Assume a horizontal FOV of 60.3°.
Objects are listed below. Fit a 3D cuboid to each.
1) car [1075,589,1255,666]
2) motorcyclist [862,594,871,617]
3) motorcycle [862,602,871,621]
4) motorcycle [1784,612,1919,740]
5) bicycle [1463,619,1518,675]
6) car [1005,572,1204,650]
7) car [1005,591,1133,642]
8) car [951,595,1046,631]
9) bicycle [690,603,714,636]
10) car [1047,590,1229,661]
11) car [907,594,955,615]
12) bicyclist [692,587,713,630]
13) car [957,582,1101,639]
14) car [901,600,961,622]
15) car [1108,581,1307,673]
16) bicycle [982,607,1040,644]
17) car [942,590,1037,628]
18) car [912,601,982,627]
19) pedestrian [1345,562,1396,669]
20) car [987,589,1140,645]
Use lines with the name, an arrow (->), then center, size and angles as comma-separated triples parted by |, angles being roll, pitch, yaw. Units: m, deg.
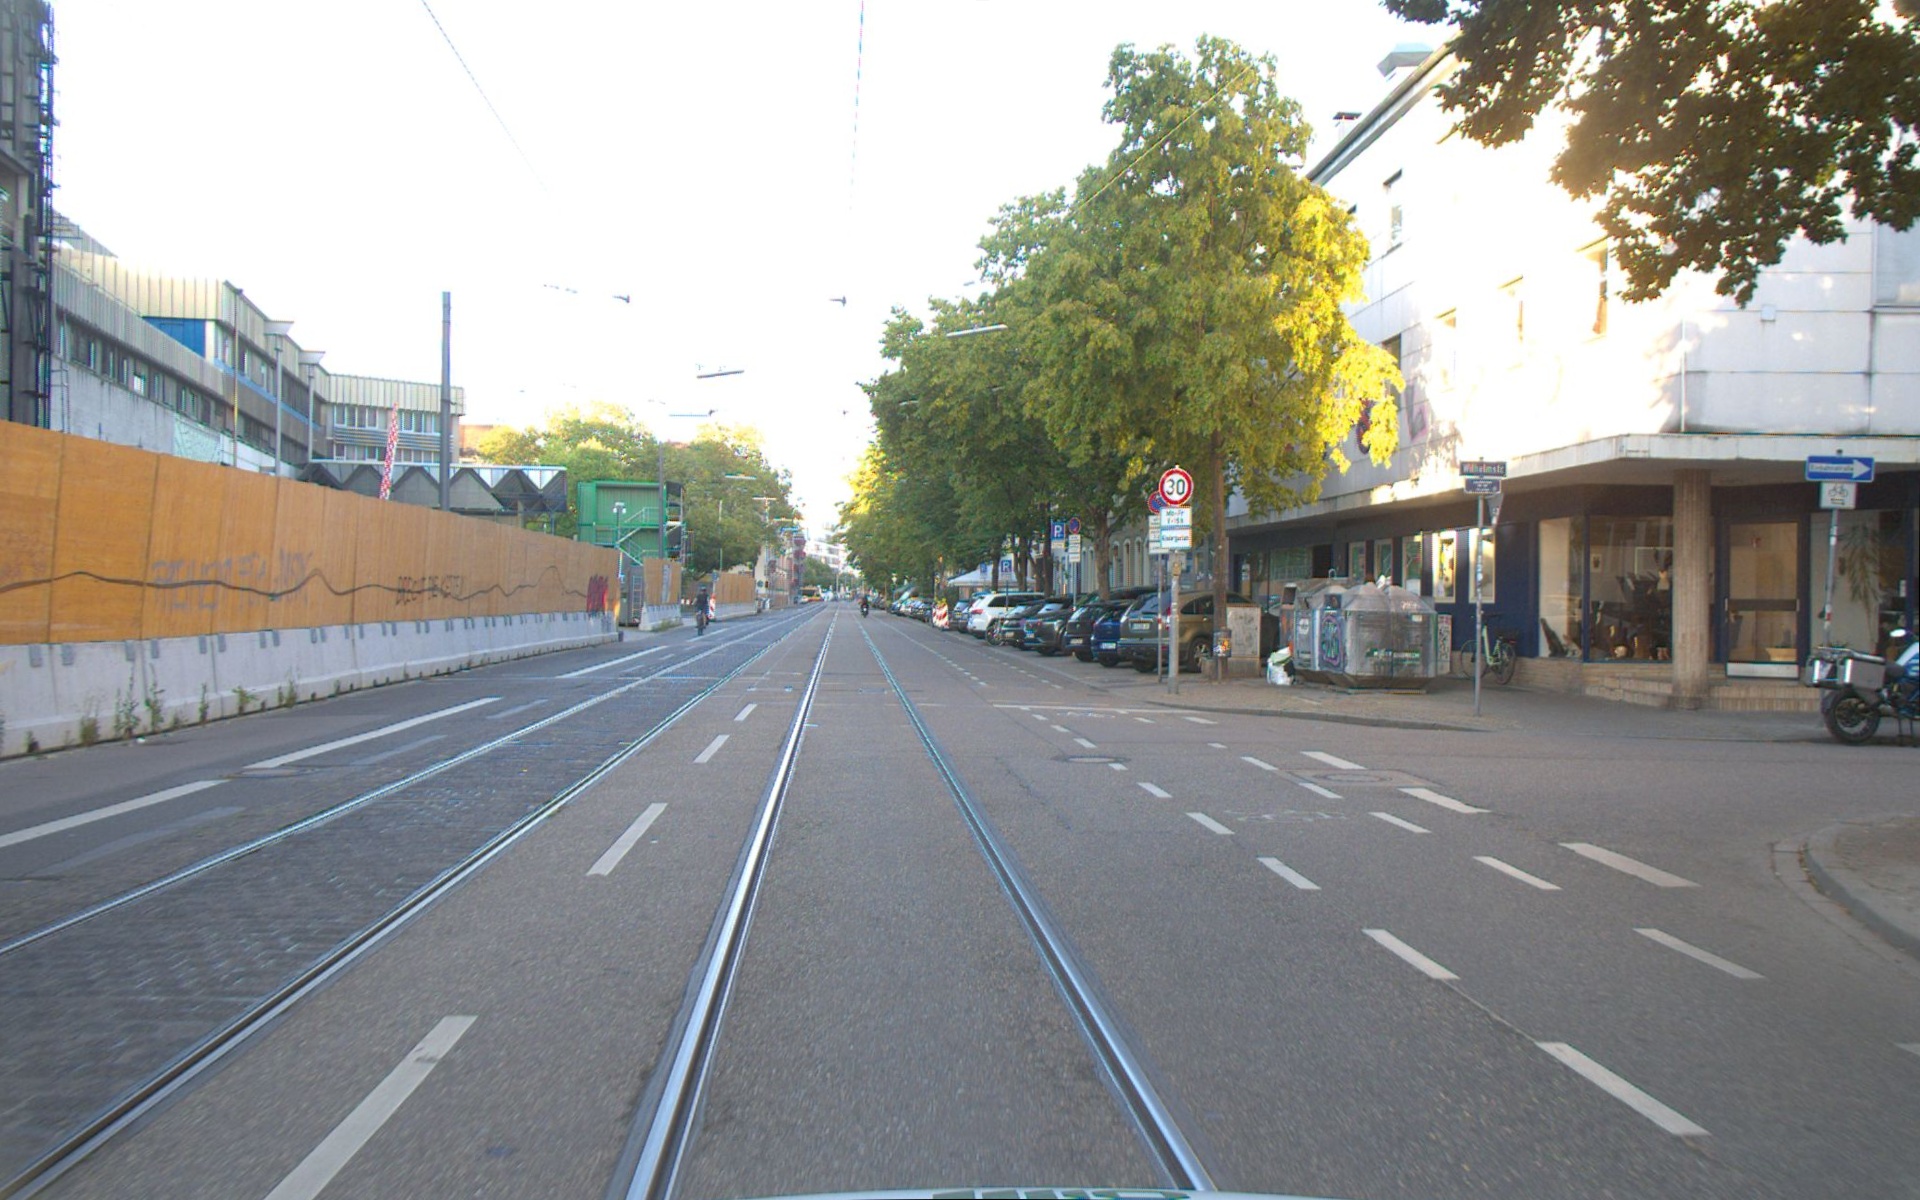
car -> 4.710, 0.611, 37.851 | 3.850, 1.528, 1.791 | -3, 0, -35
motorcyclist -> -7.112, 0.413, 125.967 | 0.632, 1.727, 1.025 | 1, -1, -5
motorcycle -> -7.129, 0.873, 126.027 | 0.632, 1.393, 1.810 | 1, -1, -5
motorcycle -> 10.914, 0.863, 19.224 | 2.047, 1.429, 1.290 | 1, -1, 3
bicycle -> 8.936, 0.778, 27.909 | 0.334, 0.898, 1.324 | -2, 0, -7
car -> 3.929, 0.284, 44.914 | 4.896, 1.858, 2.193 | -3, 0, -23
car -> 3.474, 0.515, 52.626 | 3.706, 1.451, 1.711 | -3, 0, -29
car -> 1.660, 0.559, 70.477 | 3.732, 1.432, 1.689 | -2, 0, -30
bicycle -> -10.097, 0.752, 64.780 | 0.753, 1.249, 1.934 | 0, 0, -4
car -> 4.401, 0.609, 40.737 | 4.115, 1.490, 1.950 | -3, 0, -32
car -> -2.407, 0.354, 137.011 | 3.872, 1.648, 1.919 | -1, -1, -4
bicyclist -> -10.083, 0.326, 64.790 | 0.753, 1.695, 1.017 | 0, 0, -4
car -> 2.333, 0.338, 56.428 | 4.564, 1.717, 2.003 | -2, 0, -10
car -> -2.183, 0.837, 123.555 | 4.180, 1.576, 2.011 | -1, 0, -15
car -> 5.244, 0.533, 34.833 | 4.127, 1.693, 1.816 | -3, 0, -39
bicycle -> 1.673, 0.842, 54.298 | 1.807, 1.122, 0.495 | -3, 1, -18
car -> 1.306, 0.398, 72.994 | 3.919, 1.580, 1.689 | -2, 0, -30
car -> -0.834, 0.885, 105.918 | 4.062, 1.496, 1.810 | -3, 0, -24
pedestrian -> 7.919, 0.296, 31.917 | 0.678, 2.020, 0.785 | -2, 0, -4
car -> 3.127, 0.500, 49.822 | 4.162, 1.451, 1.959 | -3, 0, -27
